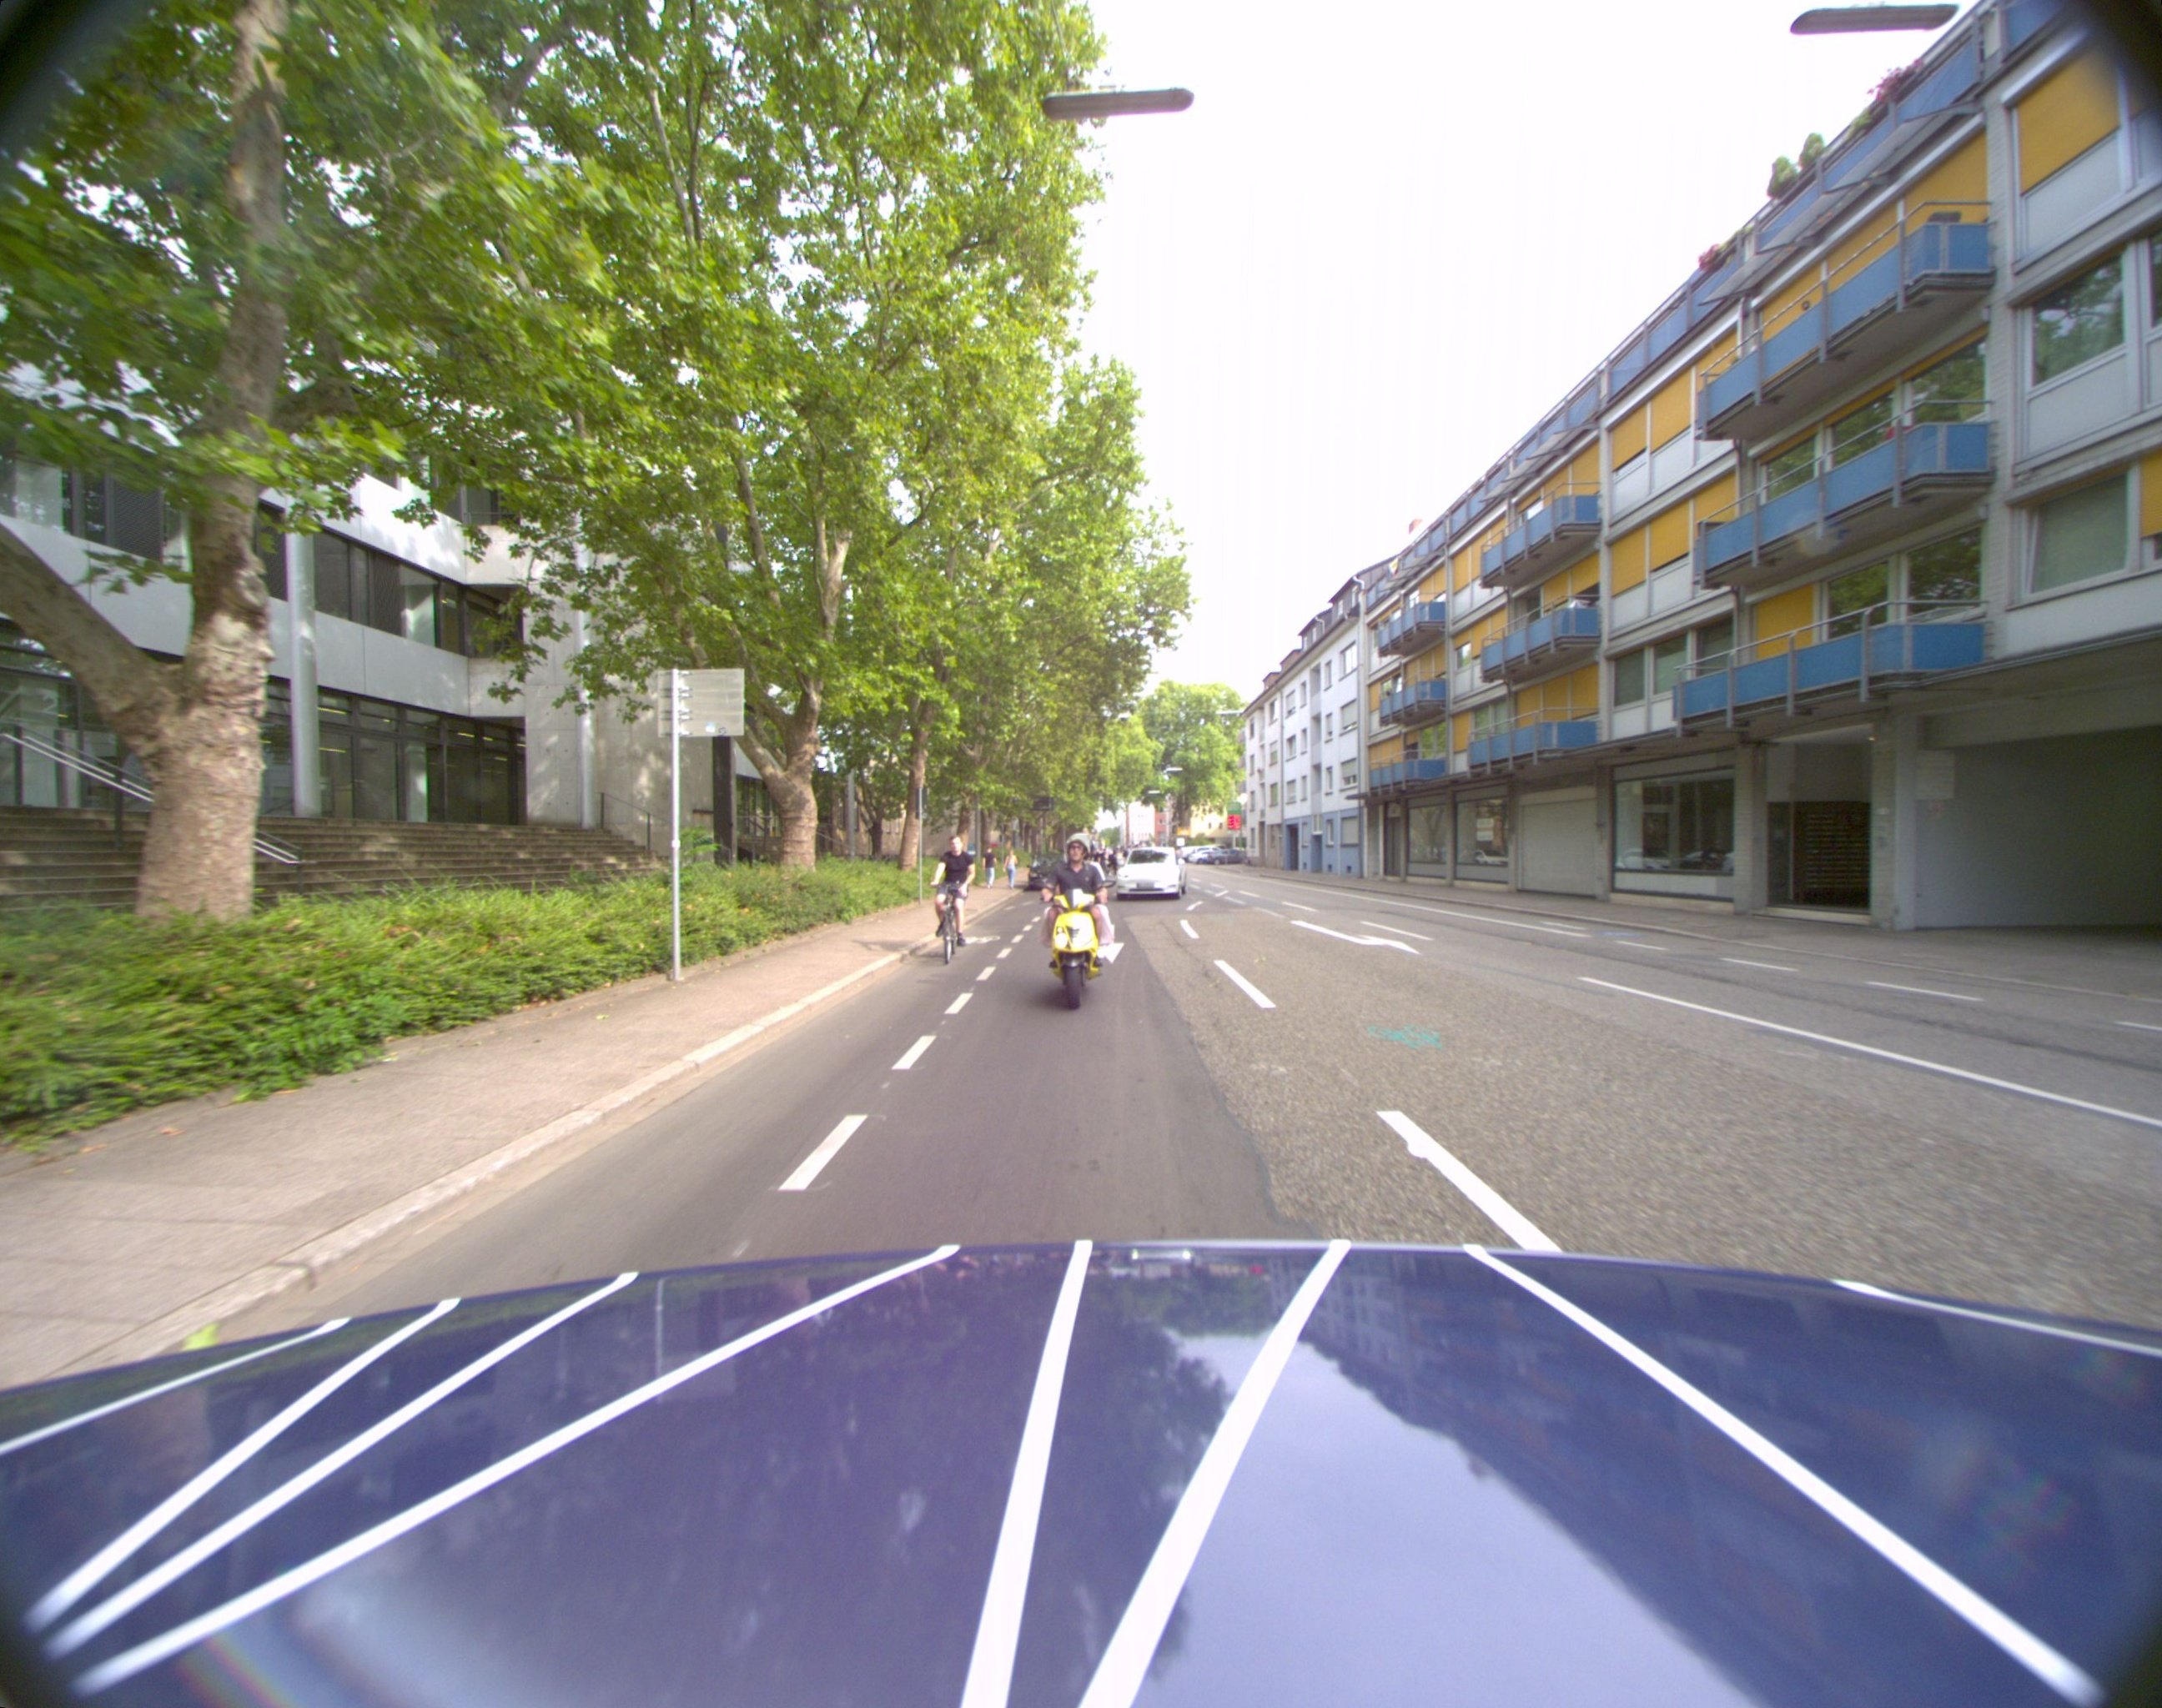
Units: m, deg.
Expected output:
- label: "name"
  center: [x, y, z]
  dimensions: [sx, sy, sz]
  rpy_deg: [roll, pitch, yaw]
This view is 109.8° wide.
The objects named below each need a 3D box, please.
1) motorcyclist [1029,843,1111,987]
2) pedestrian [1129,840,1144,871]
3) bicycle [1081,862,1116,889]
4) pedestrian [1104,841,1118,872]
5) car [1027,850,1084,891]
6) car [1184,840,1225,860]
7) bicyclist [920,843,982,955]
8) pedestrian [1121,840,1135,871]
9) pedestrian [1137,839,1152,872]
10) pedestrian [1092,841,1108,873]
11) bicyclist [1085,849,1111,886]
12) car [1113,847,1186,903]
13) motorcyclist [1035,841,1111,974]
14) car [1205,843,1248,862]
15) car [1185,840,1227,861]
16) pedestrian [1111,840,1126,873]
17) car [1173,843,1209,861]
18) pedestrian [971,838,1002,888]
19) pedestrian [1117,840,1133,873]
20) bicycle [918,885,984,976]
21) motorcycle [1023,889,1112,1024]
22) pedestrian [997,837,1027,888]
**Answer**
- label: "motorcyclist"
  center: [-0.093, 0.609, 7.921]
  dimensions: [0.781, 1.419, 0.764]
  rpy_deg: [-1, 0, 3]
- label: "pedestrian"
  center: [3.625, 0.089, 49.488]
  dimensions: [0.842, 2.002, 0.875]
  rpy_deg: [-2, 1, 5]
- label: "bicycle"
  center: [0.724, 0.844, 30.429]
  dimensions: [0.770, 1.009, 2.410]
  rpy_deg: [-1, 0, 16]
- label: "pedestrian"
  center: [1.990, 0.150, 50.144]
  dimensions: [0.842, 2.002, 0.875]
  rpy_deg: [-2, 1, 5]
- label: "car"
  center: [-1.009, 0.633, 32.355]
  dimensions: [1.998, 1.532, 4.272]
  rpy_deg: [-2, 1, 3]
- label: "car"
  center: [13.272, -0.423, 81.981]
  dimensions: [3.997, 2.002, 2.000]
  rpy_deg: [-2, 1, 1]
- label: "bicyclist"
  center: [-1.930, 0.646, 11.378]
  dimensions: [0.773, 1.574, 0.801]
  rpy_deg: [-3, 1, -6]
- label: "pedestrian"
  center: [3.174, 0.091, 51.263]
  dimensions: [0.842, 2.002, 0.875]
  rpy_deg: [-2, 1, 5]
- label: "pedestrian"
  center: [3.980, 0.091, 47.606]
  dimensions: [0.842, 2.002, 0.875]
  rpy_deg: [-2, 1, 5]
- label: "pedestrian"
  center: [1.240, 0.187, 49.464]
  dimensions: [0.842, 2.002, 0.875]
  rpy_deg: [-2, 1, 5]
- label: "bicyclist"
  center: [0.698, 0.538, 30.457]
  dimensions: [0.783, 1.438, 0.915]
  rpy_deg: [-2, 1, 16]
- label: "car"
  center: [2.298, 0.590, 24.359]
  dimensions: [1.997, 1.543, 4.523]
  rpy_deg: [-2, 1, 8]
- label: "motorcyclist"
  center: [-0.070, 0.577, 8.475]
  dimensions: [0.781, 1.419, 0.689]
  rpy_deg: [-1, 0, 3]
- label: "car"
  center: [14.302, -0.163, 74.835]
  dimensions: [3.870, 1.678, 1.882]
  rpy_deg: [-2, 1, 1]
- label: "car"
  center: [13.048, -0.399, 79.362]
  dimensions: [3.997, 2.002, 2.000]
  rpy_deg: [-2, 1, 1]
- label: "pedestrian"
  center: [2.374, 0.152, 48.173]
  dimensions: [0.842, 2.002, 0.875]
  rpy_deg: [-2, 1, 5]
- label: "car"
  center: [13.138, -0.282, 91.246]
  dimensions: [3.997, 2.002, 2.000]
  rpy_deg: [-2, 1, 1]
- label: "pedestrian"
  center: [-3.843, 0.358, 30.951]
  dimensions: [1.003, 2.002, 0.997]
  rpy_deg: [-2, 1, 2]
- label: "pedestrian"
  center: [2.745, 0.144, 47.432]
  dimensions: [0.842, 2.002, 0.875]
  rpy_deg: [-2, 1, 5]
- label: "bicycle"
  center: [-1.901, 1.083, 11.370]
  dimensions: [0.773, 1.124, 2.003]
  rpy_deg: [-3, 0, -5]
- label: "motorcycle"
  center: [-0.083, 1.006, 8.094]
  dimensions: [0.781, 1.171, 1.993]
  rpy_deg: [-1, 0, 3]
- label: "pedestrian"
  center: [-2.794, 0.354, 30.904]
  dimensions: [1.003, 2.002, 0.997]
  rpy_deg: [-2, 1, 3]
